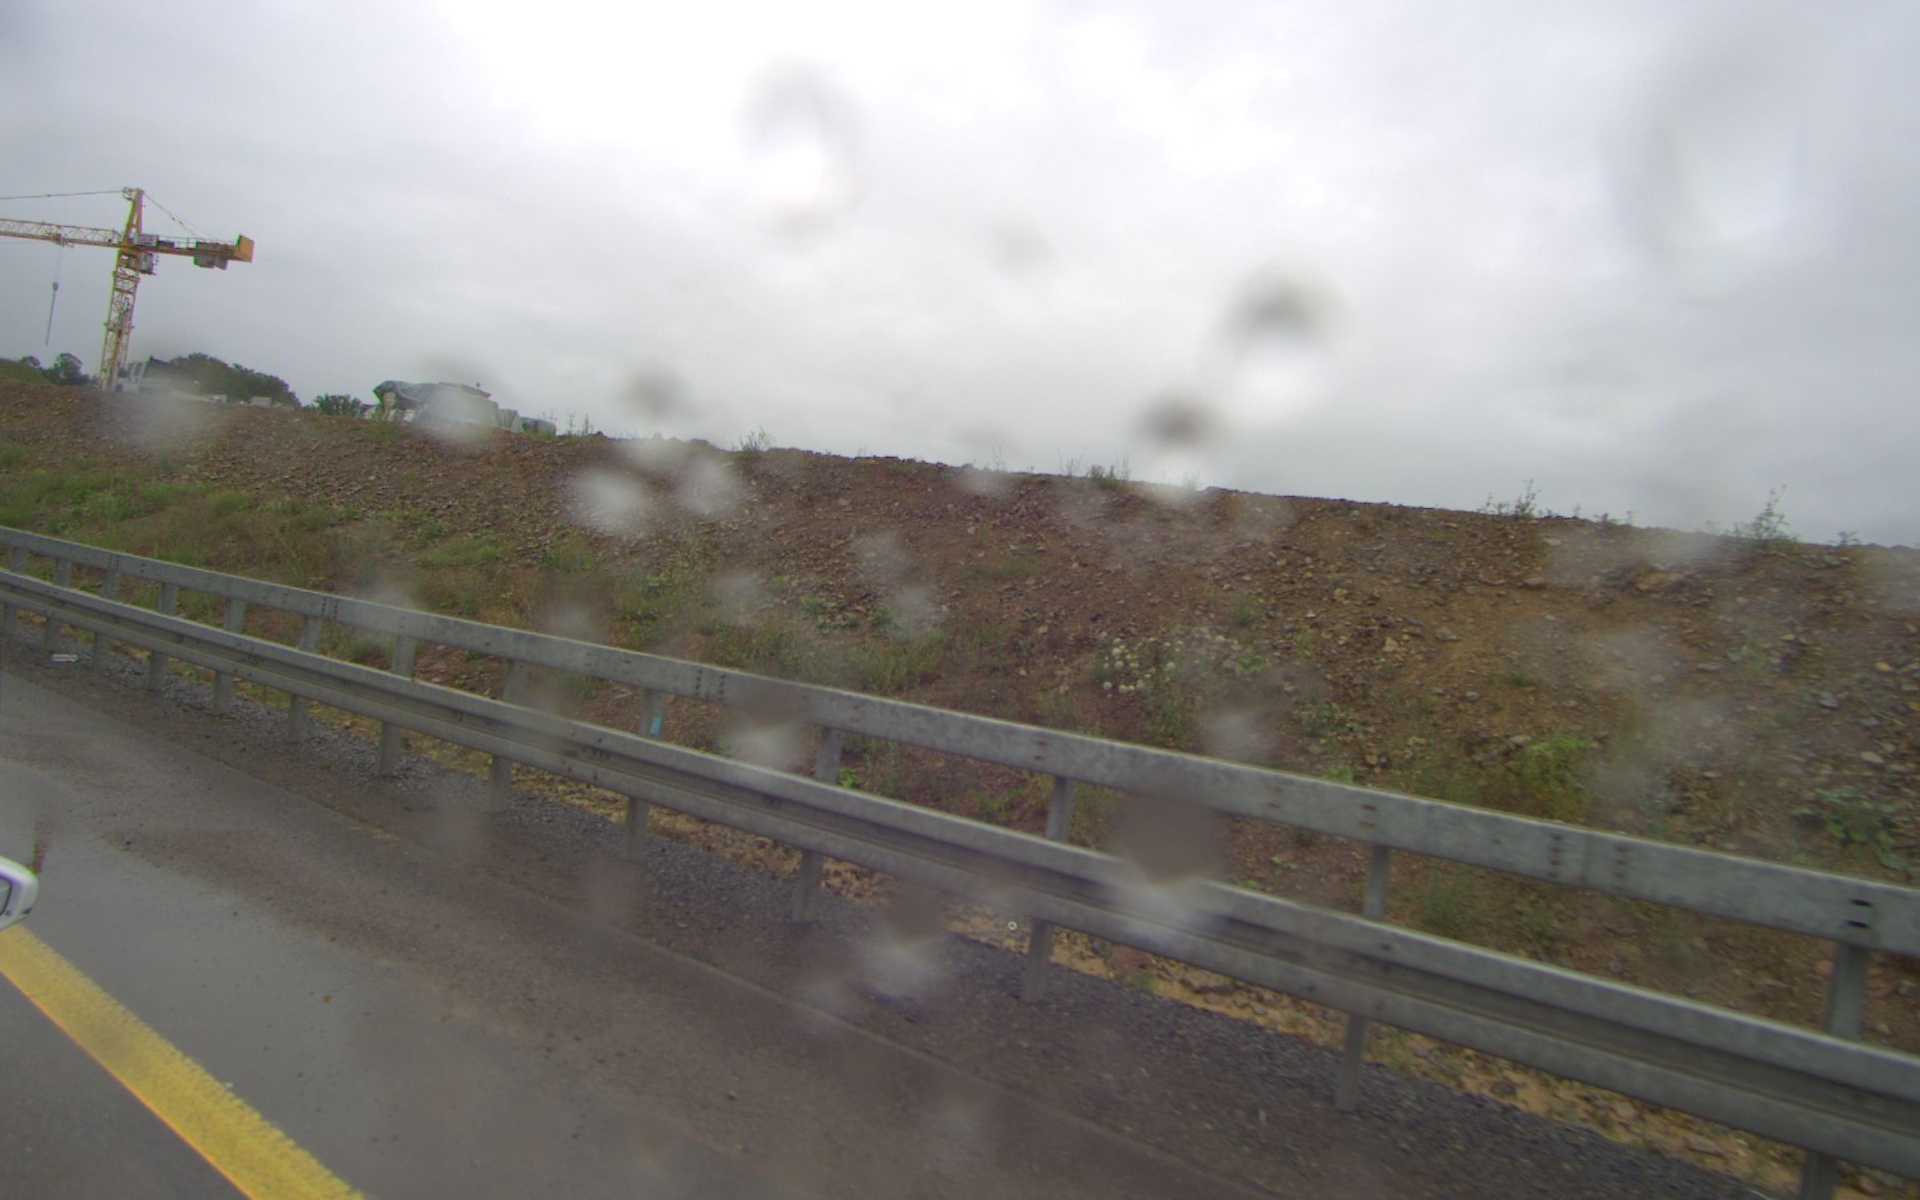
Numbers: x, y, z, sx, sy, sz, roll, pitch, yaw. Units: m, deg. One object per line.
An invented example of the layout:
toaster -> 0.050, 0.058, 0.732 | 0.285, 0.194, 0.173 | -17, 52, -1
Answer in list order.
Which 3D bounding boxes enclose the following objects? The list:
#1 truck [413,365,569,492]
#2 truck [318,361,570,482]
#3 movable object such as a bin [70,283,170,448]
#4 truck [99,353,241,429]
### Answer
truck -> -18.504, -6.693, 39.594 | 5.880, 4.269, 2.376 | 6, -1, 32
truck -> -17.177, -5.762, 33.244 | 8.817, 2.909, 3.399 | 6, -1, 34
movable object such as a bin -> -67.552, -18.410, 80.767 | 4.704, 10.972, 10.179 | 7, -1, -43
truck -> -35.705, -9.337, 45.400 | 6.869, 2.585, 2.649 | 6, -1, 32
